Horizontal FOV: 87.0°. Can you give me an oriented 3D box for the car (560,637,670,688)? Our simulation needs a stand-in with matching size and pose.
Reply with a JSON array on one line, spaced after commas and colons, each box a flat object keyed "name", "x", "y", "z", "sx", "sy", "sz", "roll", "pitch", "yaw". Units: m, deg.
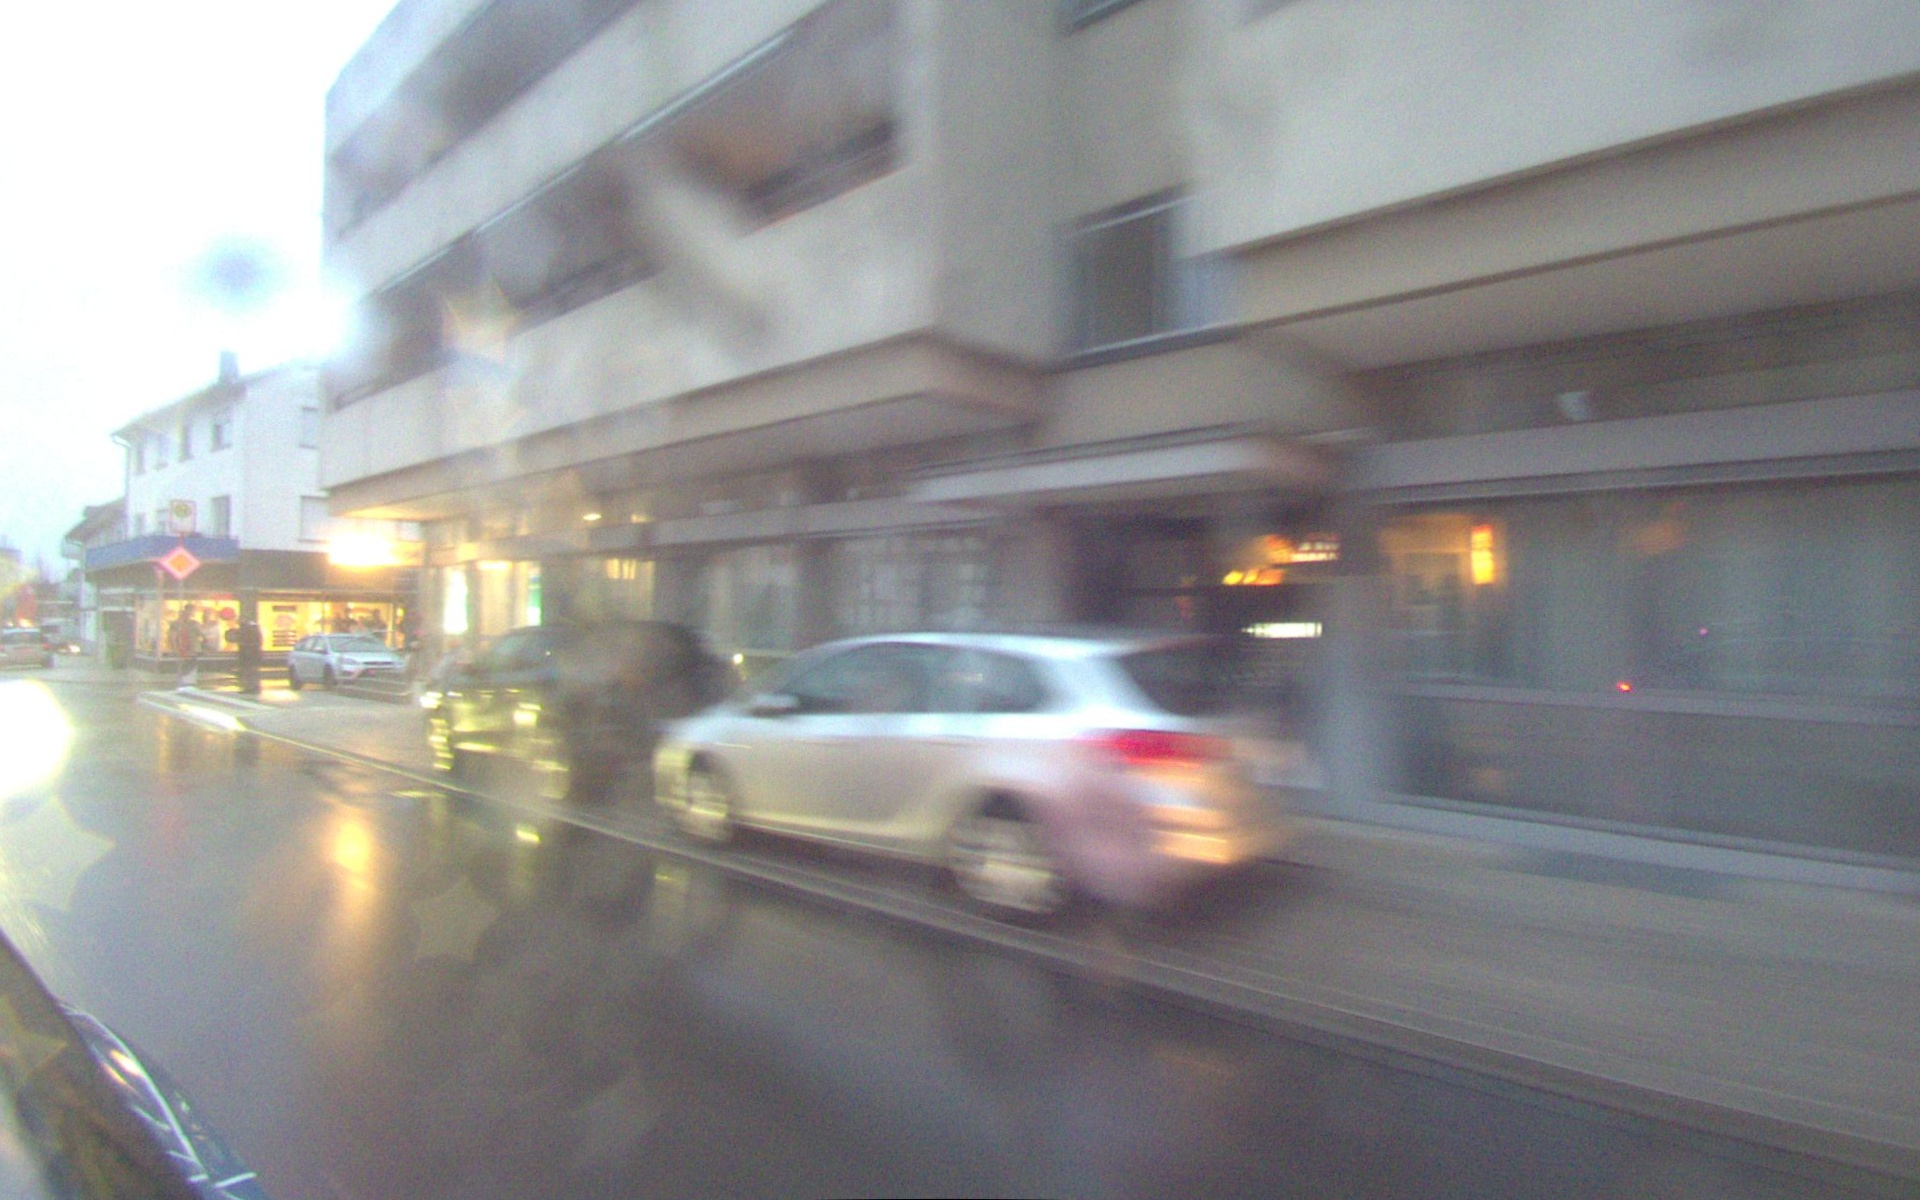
[{"name": "car", "x": -10.999, "y": 1.982, "z": 32.117, "sx": 1.677, "sy": 1.475, "sz": 4.455, "roll": 2, "pitch": -4, "yaw": -42}]

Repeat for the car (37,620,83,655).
[{"name": "car", "x": -72.959, "y": 3.047, "z": 82.107, "sx": 2.013, "sy": 2.679, "sz": 4.222, "roll": -2, "pitch": -1, "yaw": -32}]

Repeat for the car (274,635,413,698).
[{"name": "car", "x": -16.169, "y": 1.745, "z": 26.472, "sx": 4.446, "sy": 1.511, "sz": 1.746, "roll": -4, "pitch": -4, "yaw": 40}]

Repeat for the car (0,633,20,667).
[{"name": "car", "x": -55.790, "y": 2.913, "z": 58.390, "sx": 1.856, "sy": 1.914, "sz": 4.843, "roll": -1, "pitch": -1, "yaw": -38}]

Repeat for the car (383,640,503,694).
[{"name": "car", "x": -14.628, "y": 1.881, "z": 28.523, "sx": 4.451, "sy": 1.411, "sz": 1.678, "roll": -4, "pitch": -4, "yaw": 44}]

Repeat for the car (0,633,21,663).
[{"name": "car", "x": -49.327, "y": 2.439, "z": 51.769, "sx": 1.772, "sy": 1.467, "sz": 4.400, "roll": -1, "pitch": -1, "yaw": -42}]

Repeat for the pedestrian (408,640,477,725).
[{"name": "pedestrian", "x": -8.534, "y": 1.337, "z": 16.684, "sx": 0.828, "sy": 1.320, "sz": 0.748, "roll": -1, "pitch": -1, "yaw": 41}]

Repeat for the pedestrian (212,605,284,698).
[{"name": "pedestrian", "x": -15.515, "y": 1.112, "z": 22.045, "sx": 1.183, "sy": 1.953, "sz": 0.978, "roll": 1, "pitch": -3, "yaw": -40}]

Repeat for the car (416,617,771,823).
[{"name": "car", "x": -3.669, "y": 0.975, "z": 9.756, "sx": 3.928, "sy": 1.544, "sz": 1.597, "roll": -2, "pitch": 0, "yaw": 43}]

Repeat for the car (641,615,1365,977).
[{"name": "car", "x": -0.031, "y": 0.868, "z": 6.290, "sx": 4.426, "sy": 1.457, "sz": 1.658, "roll": -2, "pitch": 0, "yaw": 41}]

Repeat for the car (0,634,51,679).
[{"name": "car", "x": -37.578, "y": 2.229, "z": 40.342, "sx": 3.816, "sy": 1.626, "sz": 1.702, "roll": -2, "pitch": 0, "yaw": 44}]
